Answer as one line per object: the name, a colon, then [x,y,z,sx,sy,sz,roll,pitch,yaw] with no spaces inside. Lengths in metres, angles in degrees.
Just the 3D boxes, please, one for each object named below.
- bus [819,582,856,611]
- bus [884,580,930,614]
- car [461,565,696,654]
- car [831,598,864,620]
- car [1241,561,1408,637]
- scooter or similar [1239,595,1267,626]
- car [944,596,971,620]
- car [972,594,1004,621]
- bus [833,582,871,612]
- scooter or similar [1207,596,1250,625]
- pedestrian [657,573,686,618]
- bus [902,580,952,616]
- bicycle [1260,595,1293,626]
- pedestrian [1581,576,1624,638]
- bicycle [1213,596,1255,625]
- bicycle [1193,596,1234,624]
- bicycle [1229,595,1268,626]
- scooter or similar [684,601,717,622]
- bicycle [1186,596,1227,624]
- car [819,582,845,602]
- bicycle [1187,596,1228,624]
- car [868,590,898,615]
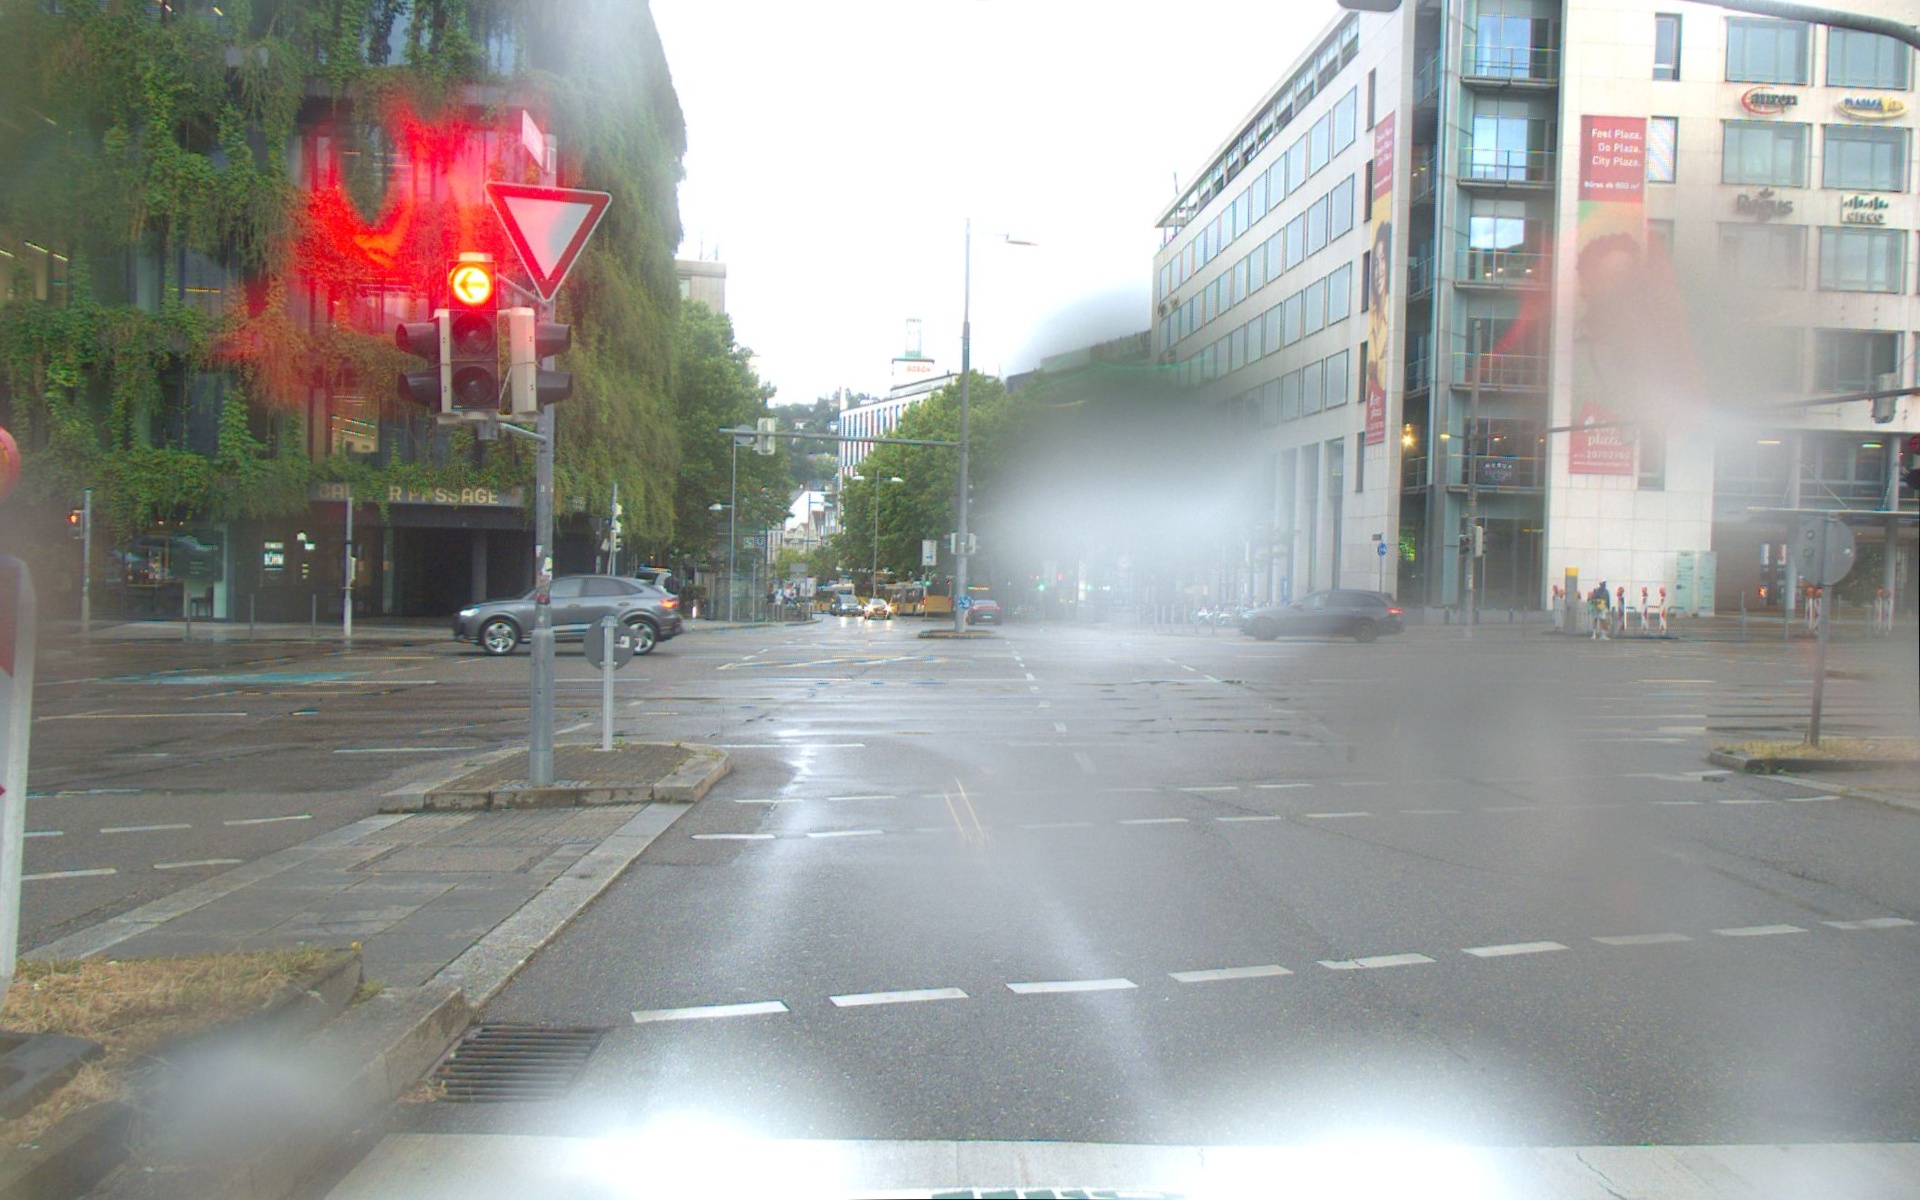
bus: [-13.333,-0.369,180.124,2.585,3.048,7.417,0,0,-16]
bus: [-4.960,-0.269,153.008,2.585,3.048,7.417,0,0,-16]
car: [-7.557,0.204,32.785,4.402,1.637,1.823,1,0,-17]
car: [-9.457,0.763,138.796,2.125,1.796,4.817,-1,0,-11]
car: [10.388,-0.037,47.109,4.554,2.049,1.550,1,0,15]
scooter or similar: [11.388,0.402,64.317,0.946,1.215,0.453,1,-1,40]
car: [-0.173,0.554,112.031,1.745,1.534,3.999,1,0,-1]
car: [1.664,0.422,98.028,1.745,1.534,3.999,1,0,-1]
bus: [-11.336,-0.297,173.057,2.585,3.048,7.296,0,0,-16]
scooter or similar: [11.551,0.434,71.143,1.741,1.215,0.586,1,-1,1]
pedestrian: [-11.016,-0.168,63.176,0.915,1.673,0.774,1,-1,-1]
bus: [-2.965,-0.191,145.891,2.585,3.048,7.417,0,0,-16]
bicycle: [12.863,0.440,67.133,0.575,1.215,1.776,1,-1,37]
pedestrian: [19.421,0.218,49.999,0.942,1.848,0.836,1,-1,-1]
bicycle: [11.895,0.443,71.771,1.741,1.215,0.586,1,-1,1]
bicycle: [11.425,0.446,74.484,1.741,1.215,0.586,1,-1,1]
bicycle: [11.588,0.415,66.556,0.578,1.215,1.766,1,0,-28]
scooter or similar: [-12.931,0.550,82.334,0.612,1.022,1.653,1,0,37]
bicycle: [10.866,0.430,72.924,1.741,1.215,0.586,1,-1,1]
car: [-11.577,-0.755,149.785,2.123,1.796,4.824,0,0,-7]
bicycle: [11.009,0.435,73.561,1.741,1.215,0.586,1,-1,1]
car: [-5.742,0.214,123.343,2.121,1.796,5.108,-1,0,-4]
